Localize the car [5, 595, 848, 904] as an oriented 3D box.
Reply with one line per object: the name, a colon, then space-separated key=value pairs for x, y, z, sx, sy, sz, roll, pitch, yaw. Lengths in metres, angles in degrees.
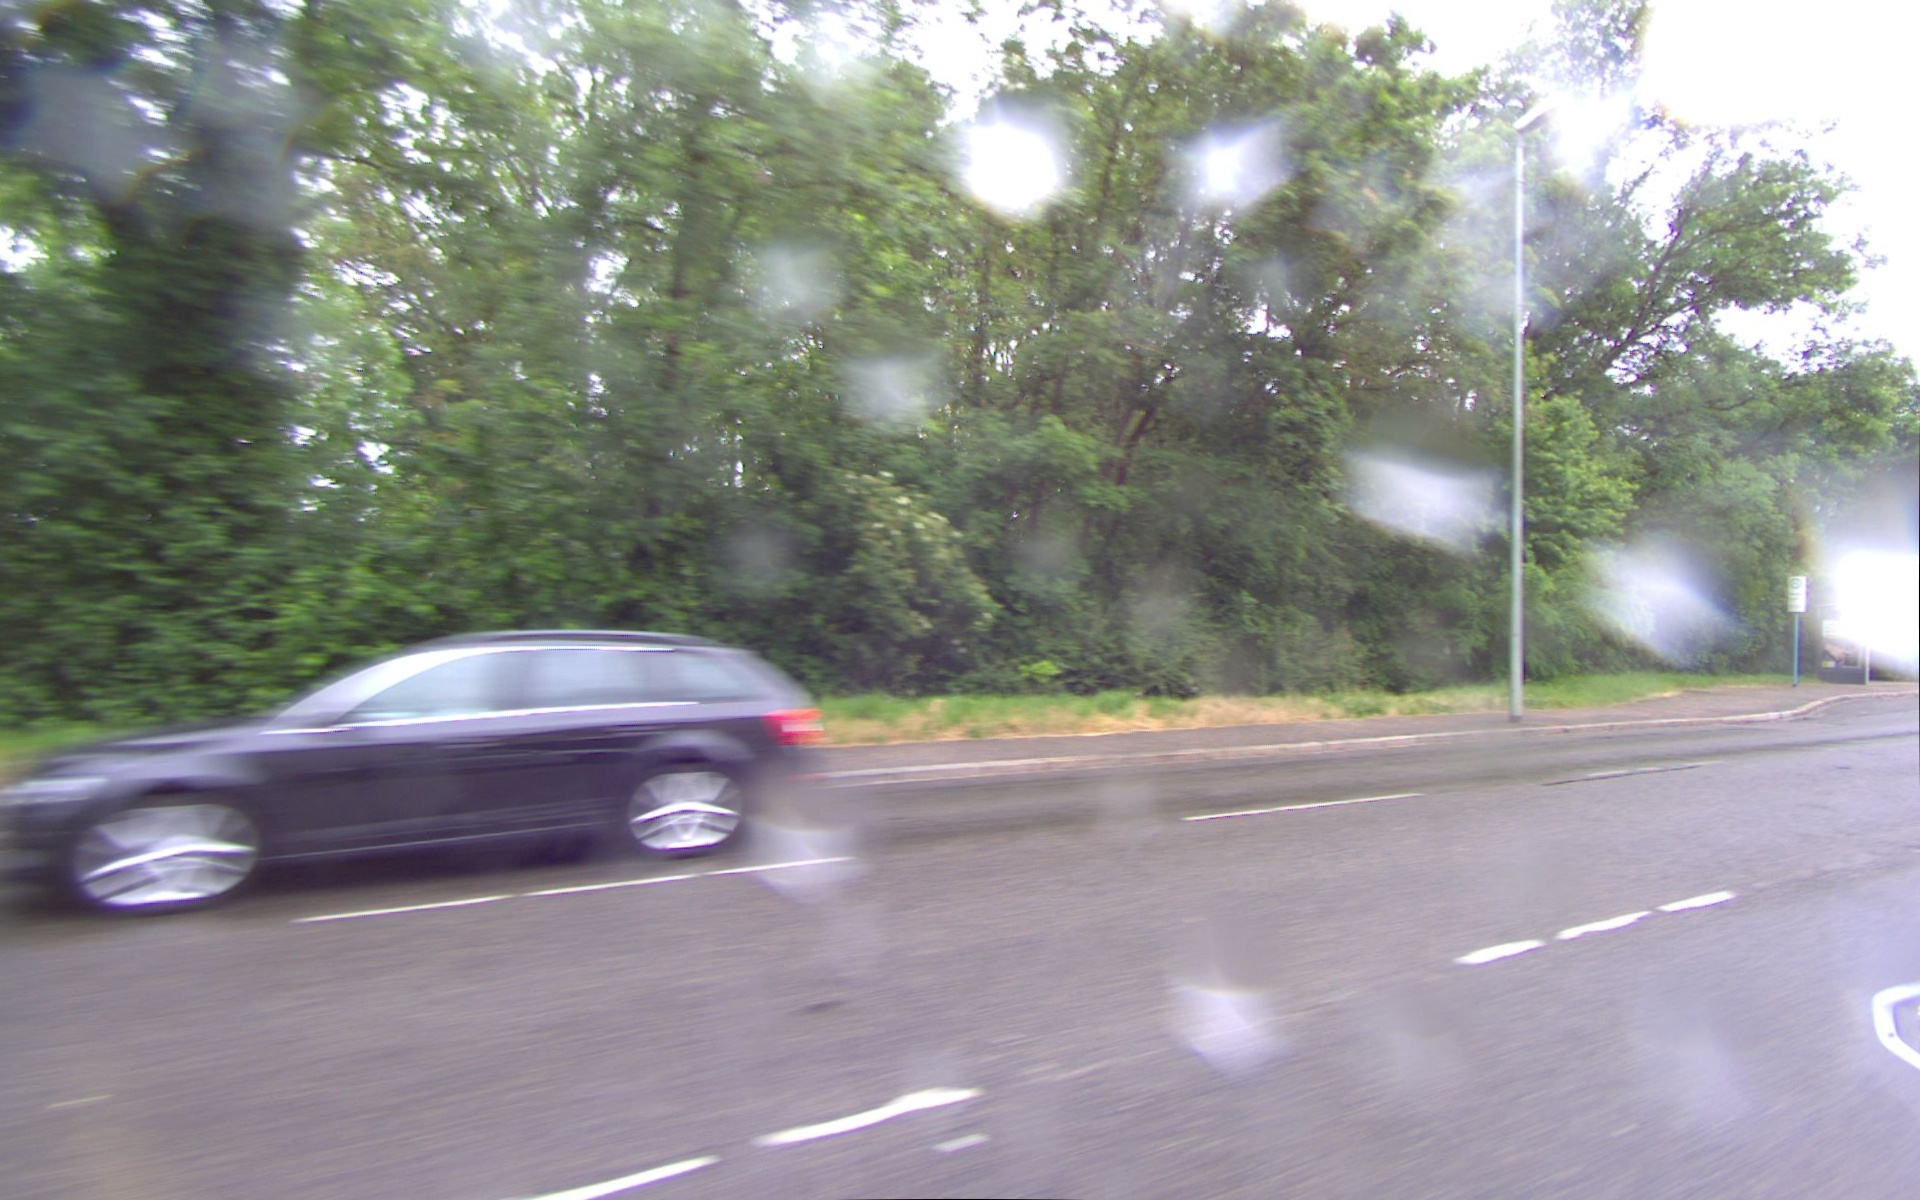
car: x=-3.072 y=0.790 z=6.624 sx=4.339 sy=1.450 sz=1.735 roll=2 pitch=-3 yaw=-31
